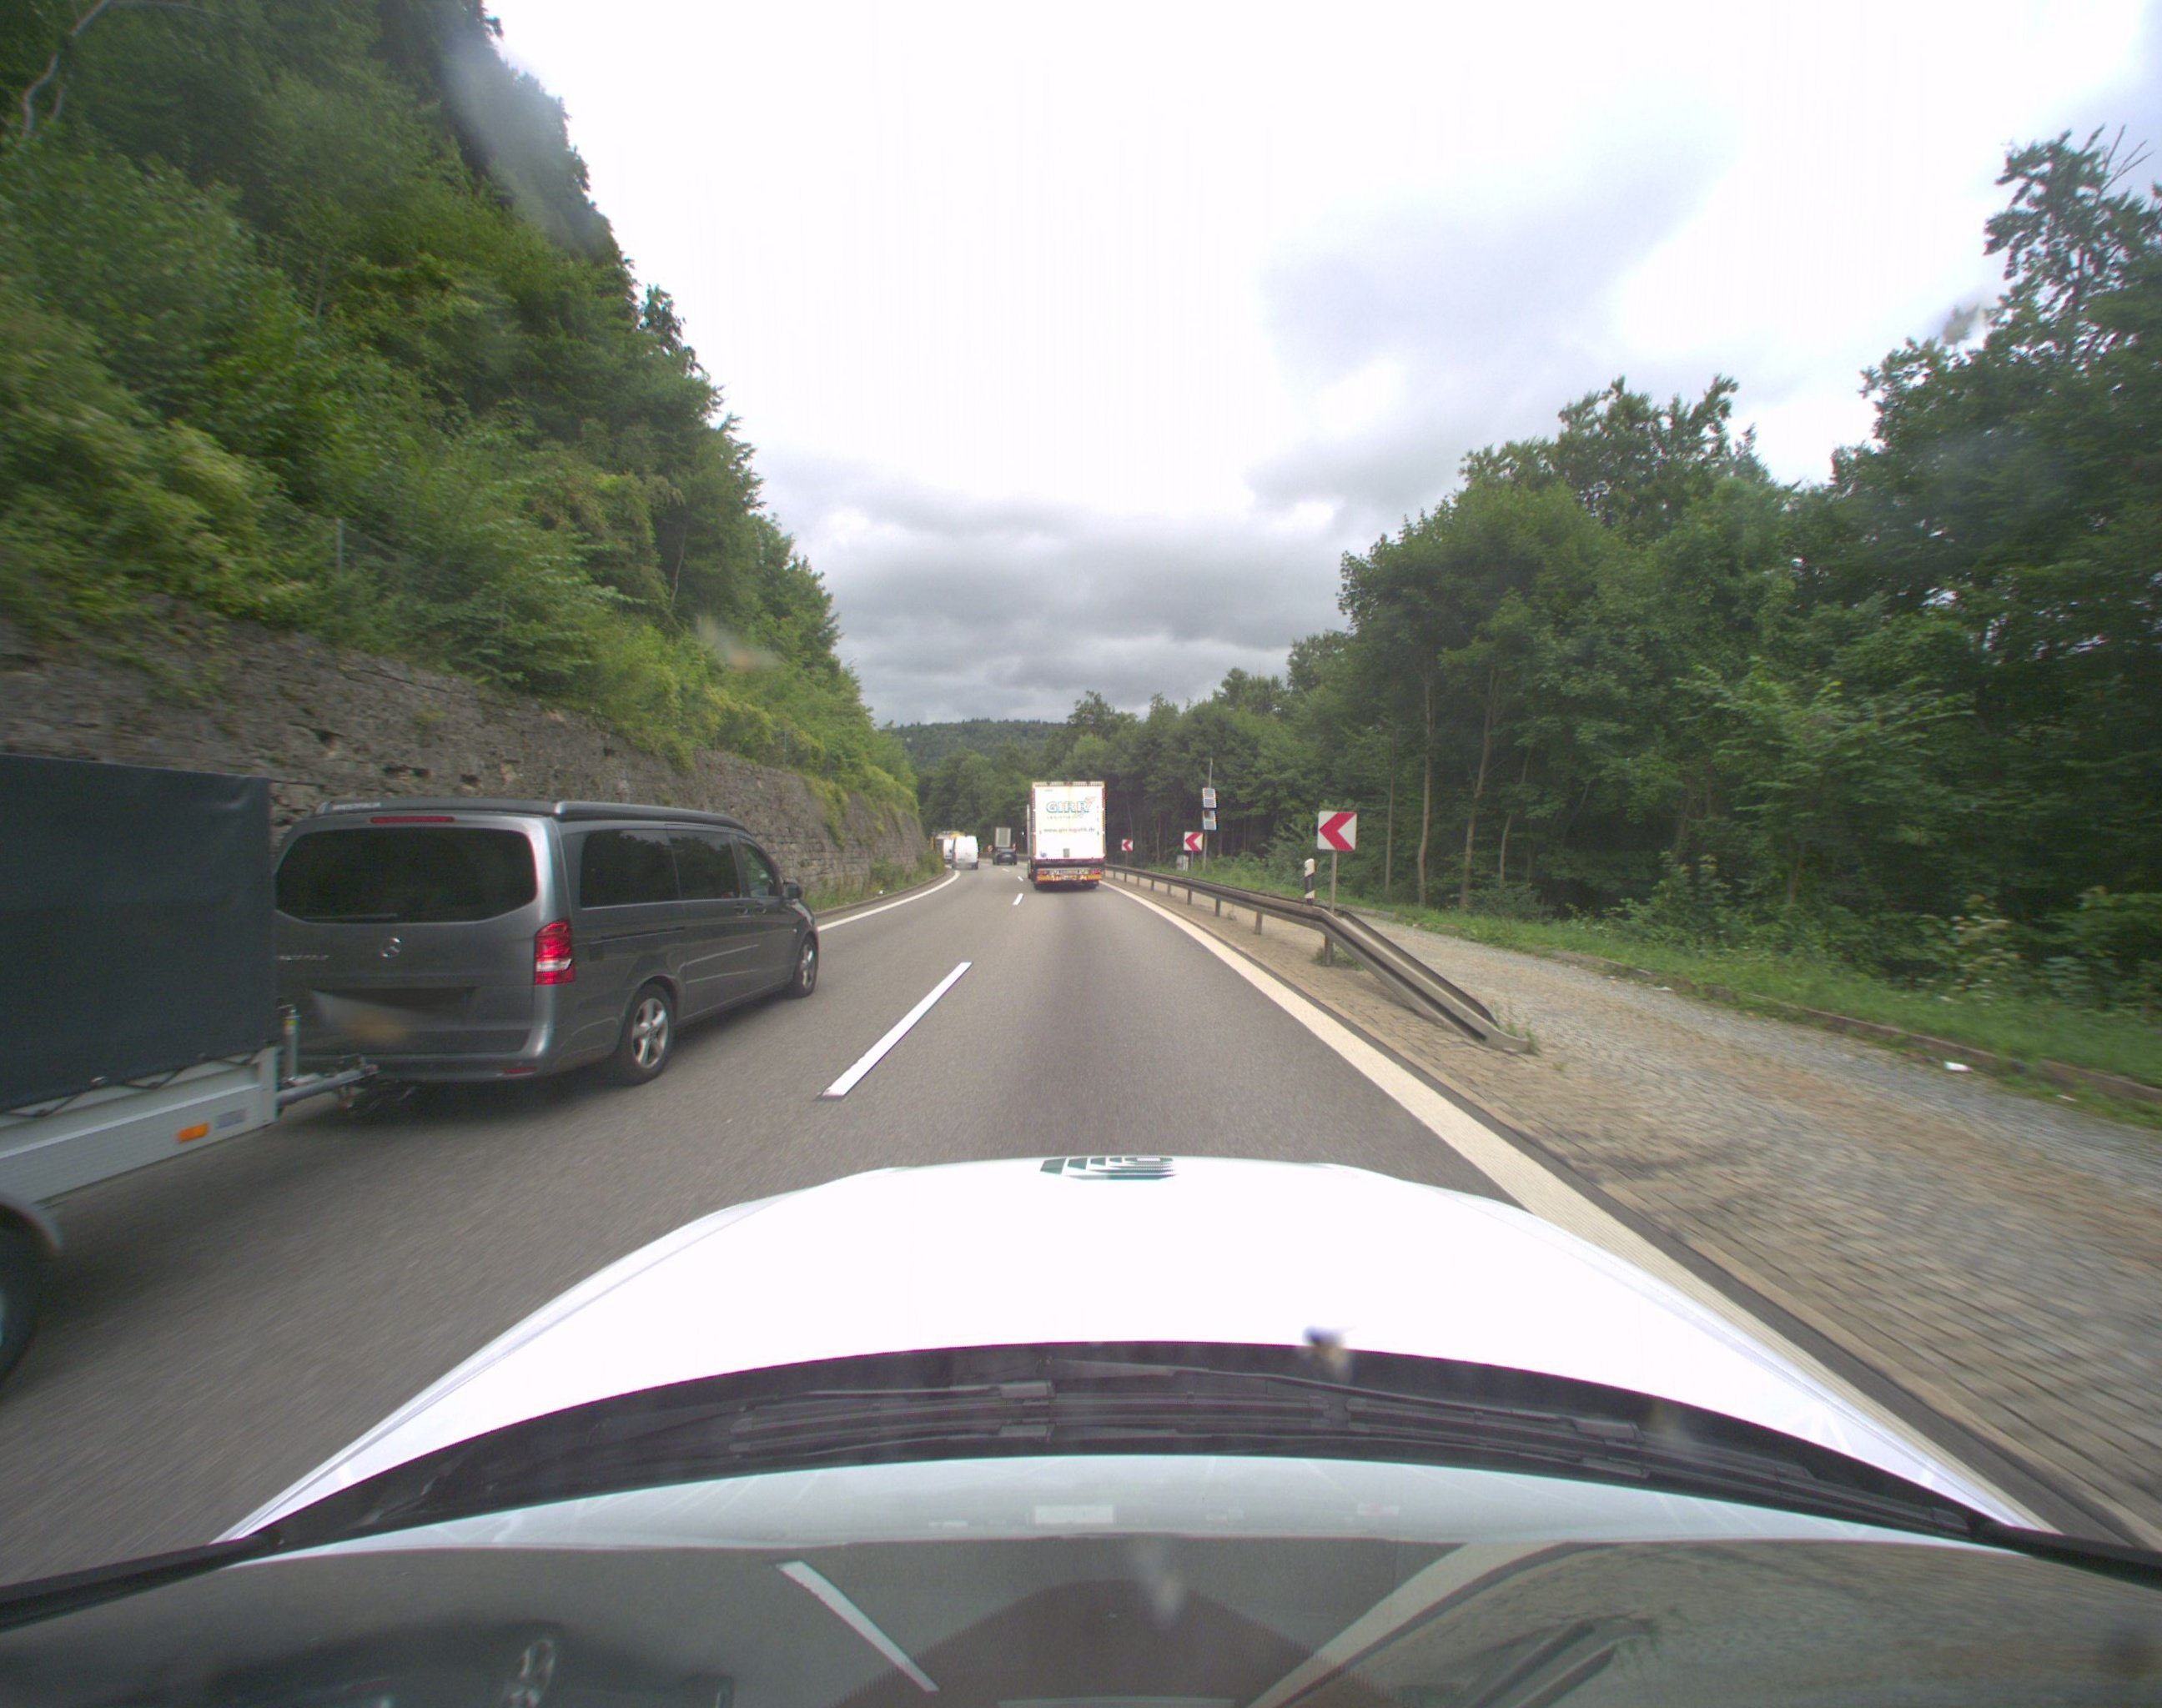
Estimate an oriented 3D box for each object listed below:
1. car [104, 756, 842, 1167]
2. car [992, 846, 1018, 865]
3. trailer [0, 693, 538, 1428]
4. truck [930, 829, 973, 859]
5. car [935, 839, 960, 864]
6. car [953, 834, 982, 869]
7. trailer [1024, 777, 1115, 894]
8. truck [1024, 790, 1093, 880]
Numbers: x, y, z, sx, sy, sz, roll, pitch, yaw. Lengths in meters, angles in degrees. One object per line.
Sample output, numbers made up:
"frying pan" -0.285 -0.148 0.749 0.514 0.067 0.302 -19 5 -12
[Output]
"car" -3.842 0.509 6.835 1.987 2.013 5.539 -1 0 0
"car" -7.255 0.118 77.554 1.996 1.662 3.982 1 0 -13
"trailer" -3.843 0.555 2.528 1.965 1.939 3.430 -1 0 0
"truck" -18.420 -1.418 114.946 3.070 3.986 13.599 -2 1 -22
"car" -14.765 -0.335 89.924 1.944 2.672 5.956 1 0 -17
"car" -9.427 -0.232 67.212 1.989 2.672 6.911 1 0 -11
"trailer" -0.813 -0.833 34.485 3.052 3.985 12.120 2 2 -4
"truck" -1.287 -0.968 40.877 3.052 3.985 7.177 2 2 -4
